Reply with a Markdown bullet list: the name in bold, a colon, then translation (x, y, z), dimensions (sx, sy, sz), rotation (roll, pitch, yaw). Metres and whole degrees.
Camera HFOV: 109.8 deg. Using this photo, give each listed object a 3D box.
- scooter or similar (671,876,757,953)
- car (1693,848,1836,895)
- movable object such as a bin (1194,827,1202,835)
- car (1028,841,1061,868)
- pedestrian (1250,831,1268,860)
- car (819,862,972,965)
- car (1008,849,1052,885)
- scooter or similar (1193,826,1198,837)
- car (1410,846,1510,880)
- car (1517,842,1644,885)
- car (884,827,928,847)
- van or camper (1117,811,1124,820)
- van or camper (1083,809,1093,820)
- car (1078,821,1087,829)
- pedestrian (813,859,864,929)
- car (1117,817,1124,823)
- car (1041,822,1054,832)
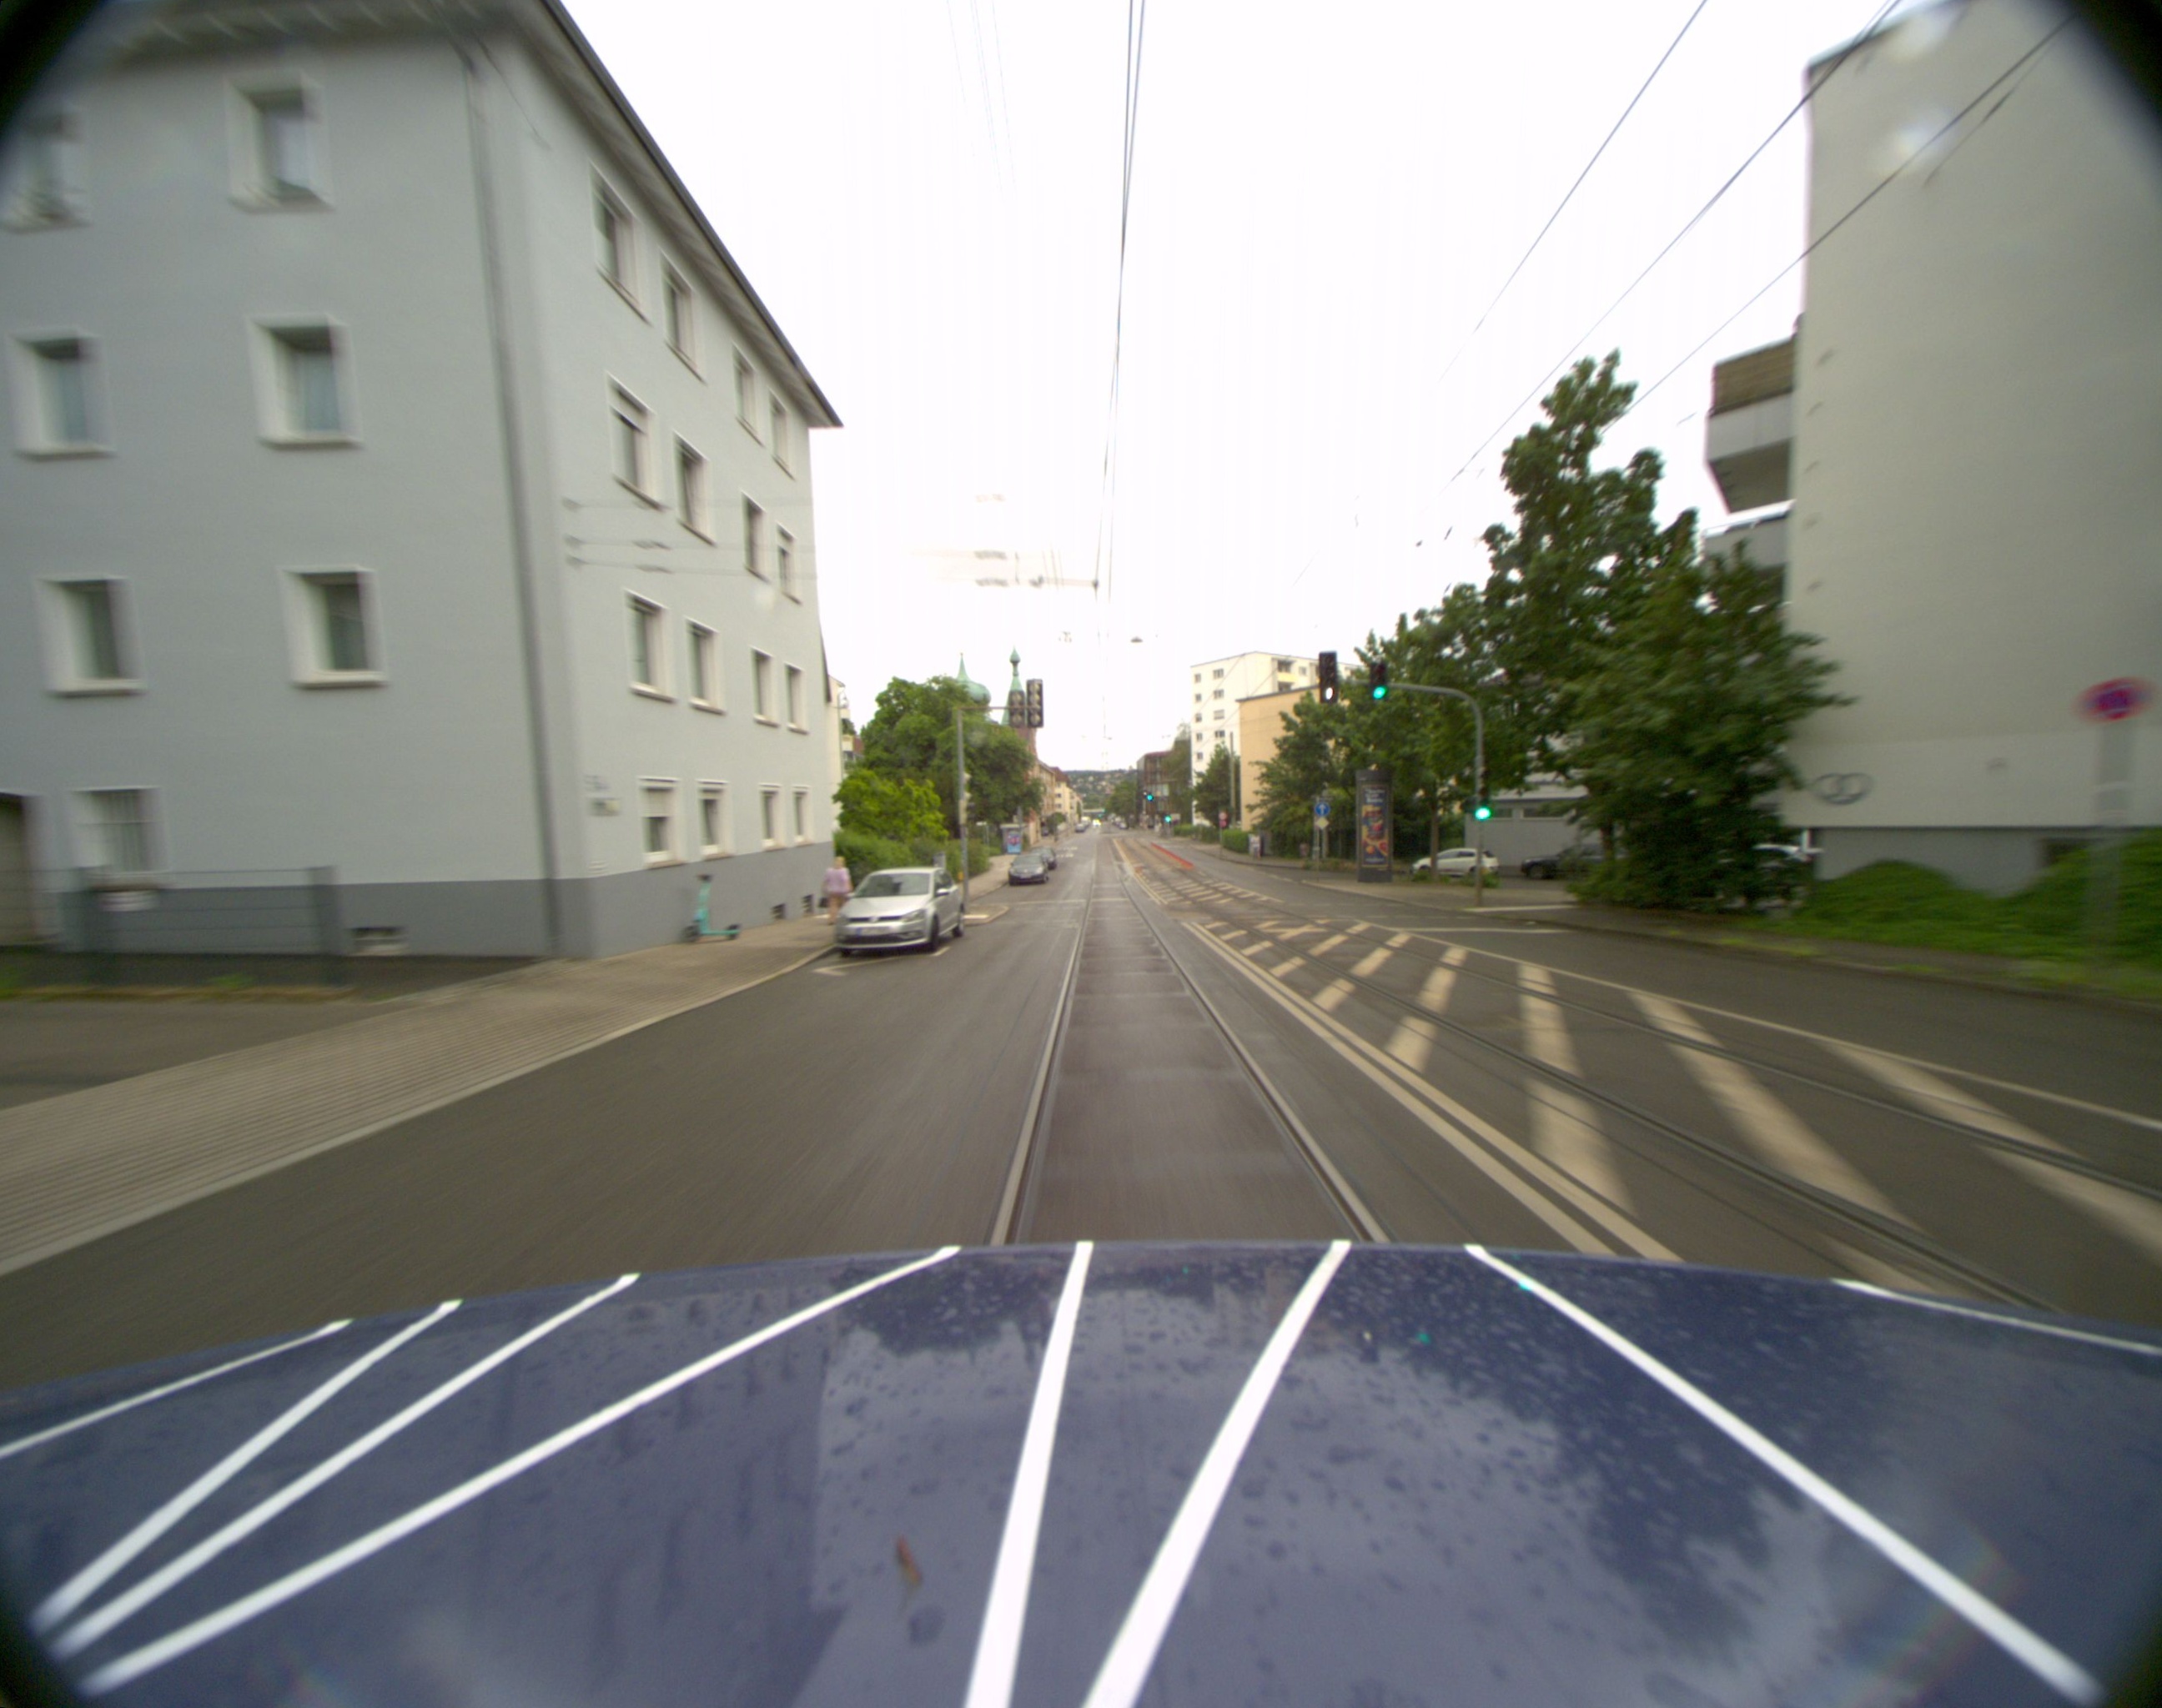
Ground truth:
- **scooter or similar**: translation (-6.580, 1.053, 13.711), dimensions (0.576, 1.242, 1.611), rotation (-1, 0, 7)
- **car**: translation (27.393, 0.629, 30.544), dimensions (4.160, 1.571, 1.845), rotation (2, 6, 45)
- **movable object such as a bin**: translation (14.033, -2.773, 91.236), dimensions (0.688, 0.877, 0.759), rotation (-3, 5, -4)
- **car**: translation (-2.392, -0.011, 50.527), dimensions (1.862, 1.479, 4.642), rotation (-3, 3, 0)
- **pedestrian**: translation (12.165, -0.589, 51.962), dimensions (0.921, 1.836, 1.016), rotation (-4, 5, -4)
- **car**: translation (-3.230, 0.962, 14.103), dimensions (1.709, 1.425, 4.101), rotation (-3, 1, 1)
- **car**: translation (-2.541, 0.599, 38.788), dimensions (1.945, 1.456, 4.203), rotation (-3, 3, 0)
- **scooter or similar**: translation (13.445, -2.654, 89.328), dimensions (0.573, 1.178, 1.600), rotation (-2, 5, 10)
- **car**: translation (19.445, 0.410, 39.040), dimensions (2.003, 1.473, 4.148), rotation (-7, 6, -43)
- **car**: translation (22.994, 0.386, 35.097), dimensions (4.626, 1.697, 1.845), rotation (2, 6, 45)
- **car**: translation (-15.898, -1.549, 68.937), dimensions (4.189, 1.686, 1.845), rotation (2, 6, 44)
- **van or camper**: translation (12.960, -12.608, 250.120), dimensions (2.143, 2.589, 5.546), rotation (-3, 5, 3)
- **van or camper**: translation (2.282, -11.973, 232.101), dimensions (2.753, 3.042, 7.025), rotation (-2, 5, 2)
- **car**: translation (0.330, -6.156, 161.383), dimensions (1.734, 1.452, 4.474), rotation (-3, 5, 1)
- **pedestrian**: translation (-5.596, 0.904, 17.554), dimensions (0.884, 1.574, 0.801), rotation (-1, 0, 3)
- **car**: translation (12.659, -11.012, 243.880), dimensions (1.998, 1.566, 3.997), rotation (-3, 5, 1)
- **car**: translation (-5.787, -4.673, 130.576), dimensions (1.858, 1.495, 4.445), rotation (1, 5, 2)
